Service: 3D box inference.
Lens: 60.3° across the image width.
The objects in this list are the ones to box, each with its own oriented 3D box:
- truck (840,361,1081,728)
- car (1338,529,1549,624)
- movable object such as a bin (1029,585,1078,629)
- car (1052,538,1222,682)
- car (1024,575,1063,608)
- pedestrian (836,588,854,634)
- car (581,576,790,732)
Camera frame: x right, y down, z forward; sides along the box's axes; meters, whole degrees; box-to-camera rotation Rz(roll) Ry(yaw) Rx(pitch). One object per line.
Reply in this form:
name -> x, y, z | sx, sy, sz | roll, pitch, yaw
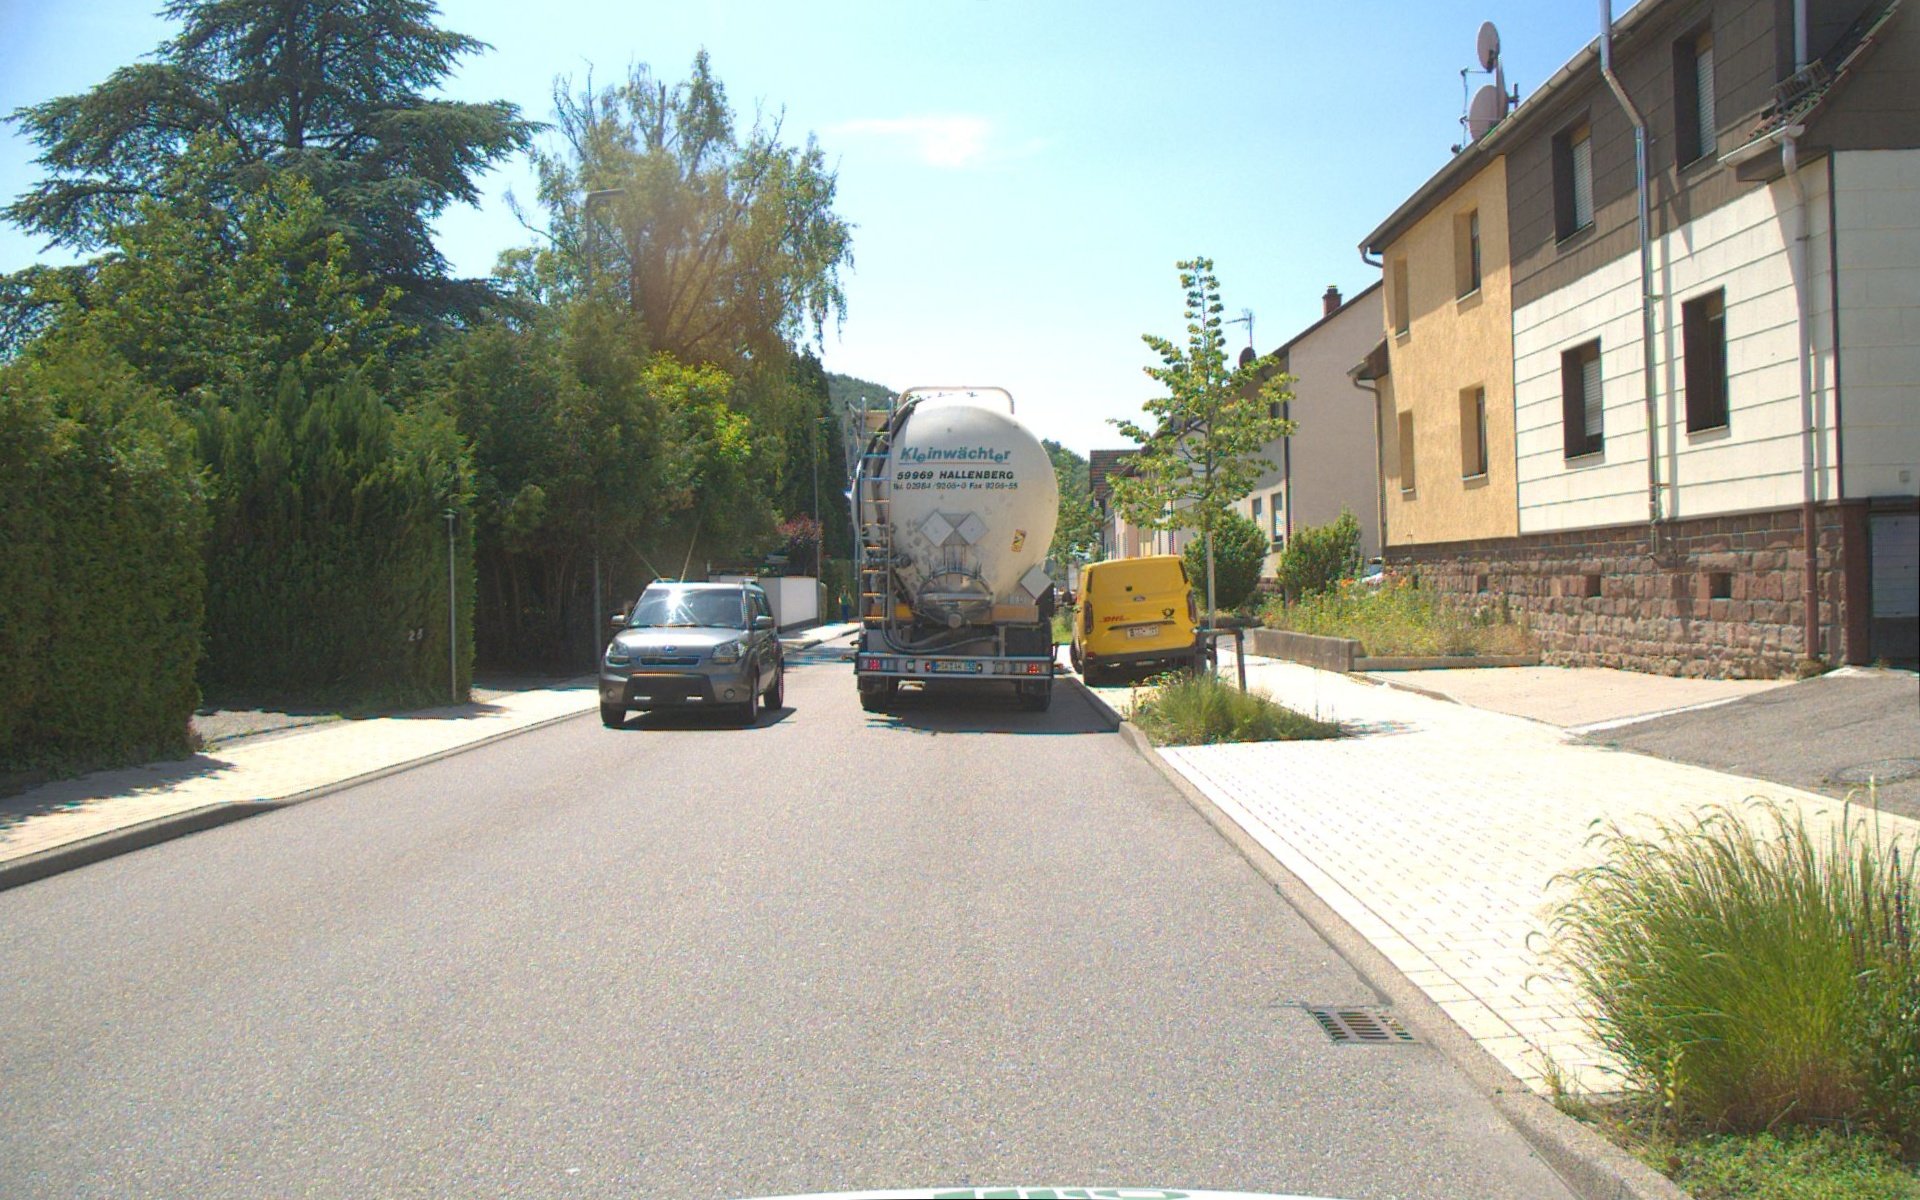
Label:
truck -> 0.076, -0.662, 24.115 | 2.693, 4.127, 10.890 | 0, 0, 1
car -> 10.365, -0.498, 35.651 | 3.907, 1.705, 1.873 | -4, 0, -2
movable object such as a bin -> 3.288, 0.255, 58.425 | 1.539, 1.441, 3.041 | -2, -1, 0
car -> 2.925, 0.181, 28.712 | 2.146, 2.048, 5.622 | -5, -1, -1
car -> 4.117, -0.379, 82.097 | 1.720, 1.442, 4.632 | -3, -1, 0
pedestrian -> -5.137, 0.508, 73.922 | 0.706, 2.049, 0.804 | 0, -1, 0
car -> -3.189, 0.563, 19.944 | 1.829, 1.681, 3.949 | 0, 1, 0
